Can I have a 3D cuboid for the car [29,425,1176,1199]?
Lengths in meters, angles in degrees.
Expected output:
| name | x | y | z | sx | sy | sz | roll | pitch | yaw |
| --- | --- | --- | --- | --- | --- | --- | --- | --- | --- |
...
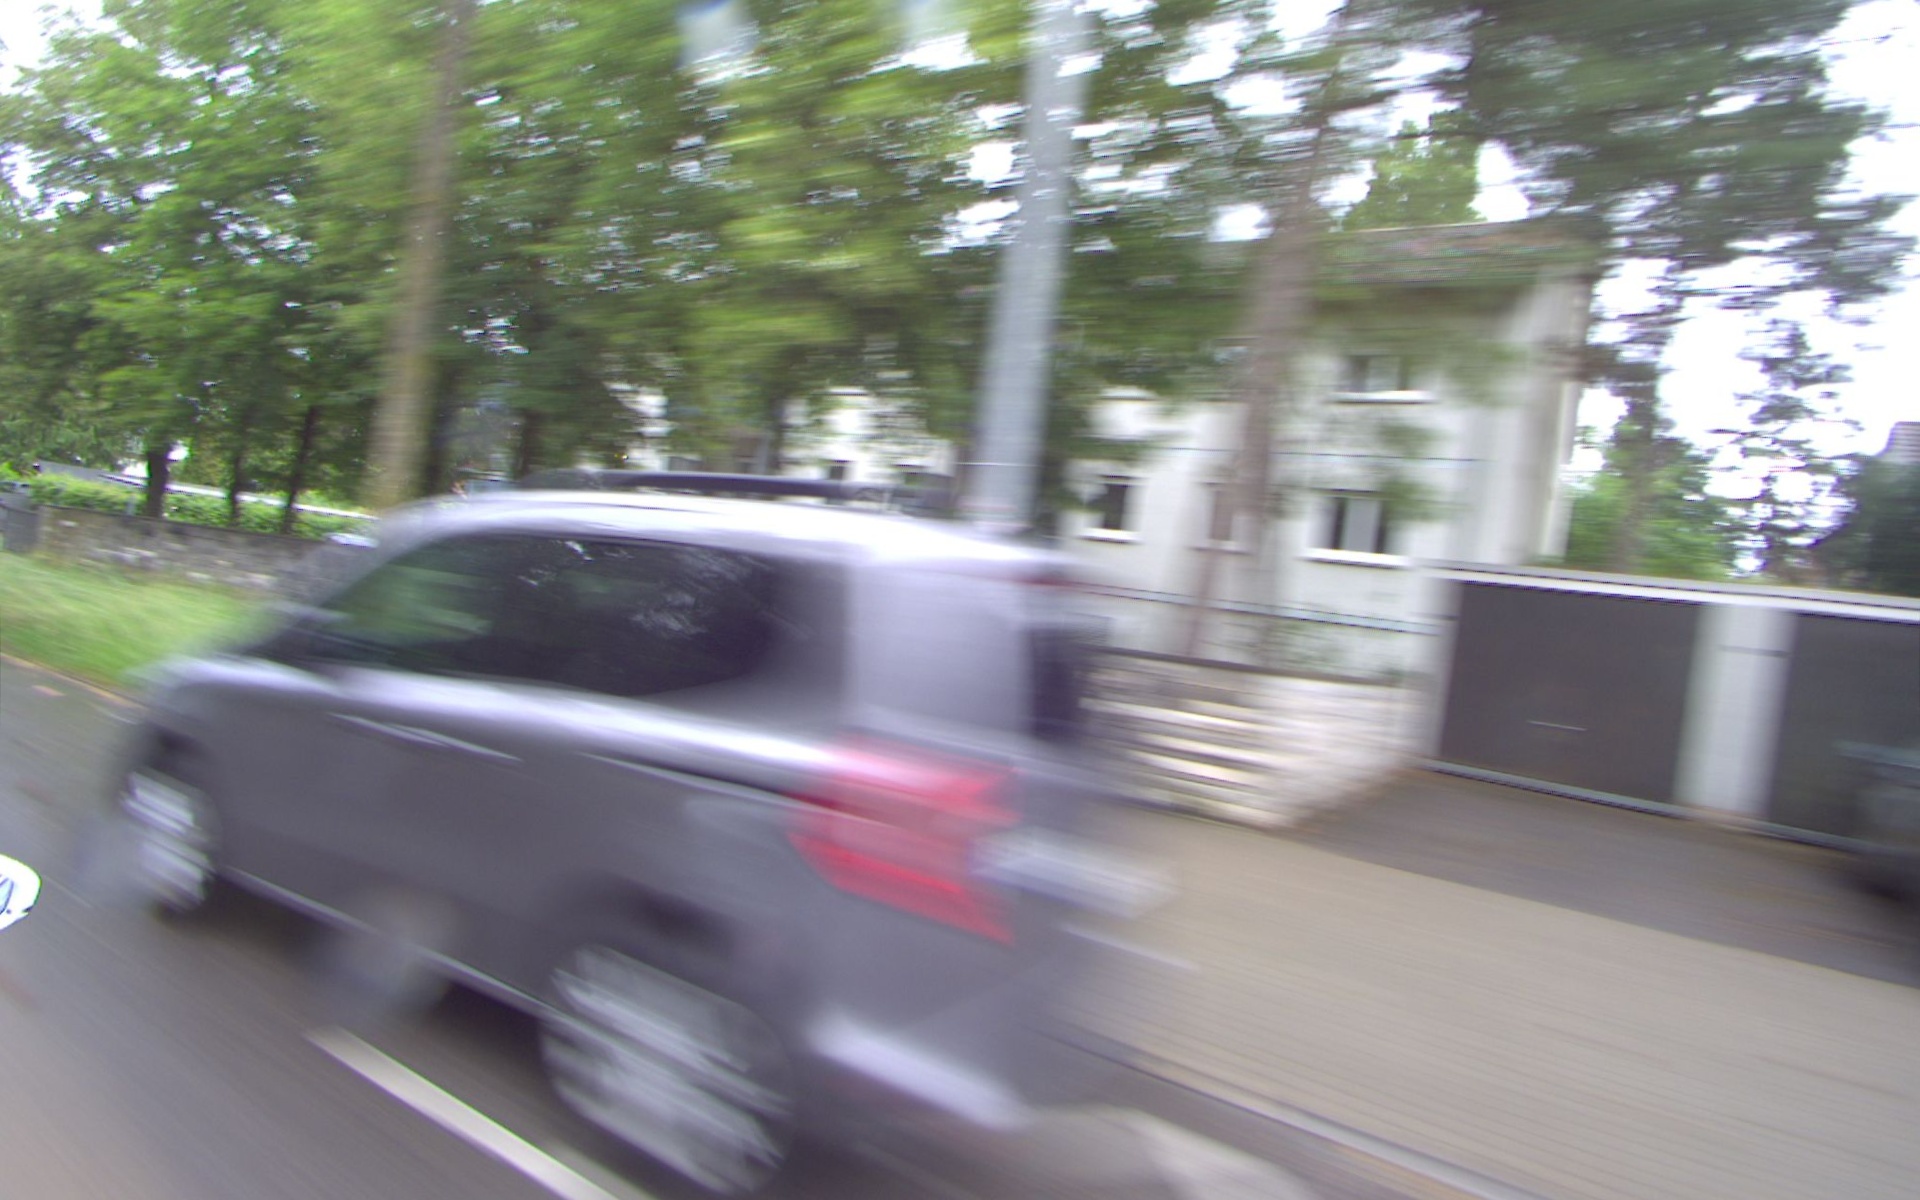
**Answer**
| name | x | y | z | sx | sy | sz | roll | pitch | yaw |
| --- | --- | --- | --- | --- | --- | --- | --- | --- | --- |
| car | -1.564 | 0.502 | 4.006 | 4.210 | 1.834 | 1.819 | 8 | -1 | 30 |
